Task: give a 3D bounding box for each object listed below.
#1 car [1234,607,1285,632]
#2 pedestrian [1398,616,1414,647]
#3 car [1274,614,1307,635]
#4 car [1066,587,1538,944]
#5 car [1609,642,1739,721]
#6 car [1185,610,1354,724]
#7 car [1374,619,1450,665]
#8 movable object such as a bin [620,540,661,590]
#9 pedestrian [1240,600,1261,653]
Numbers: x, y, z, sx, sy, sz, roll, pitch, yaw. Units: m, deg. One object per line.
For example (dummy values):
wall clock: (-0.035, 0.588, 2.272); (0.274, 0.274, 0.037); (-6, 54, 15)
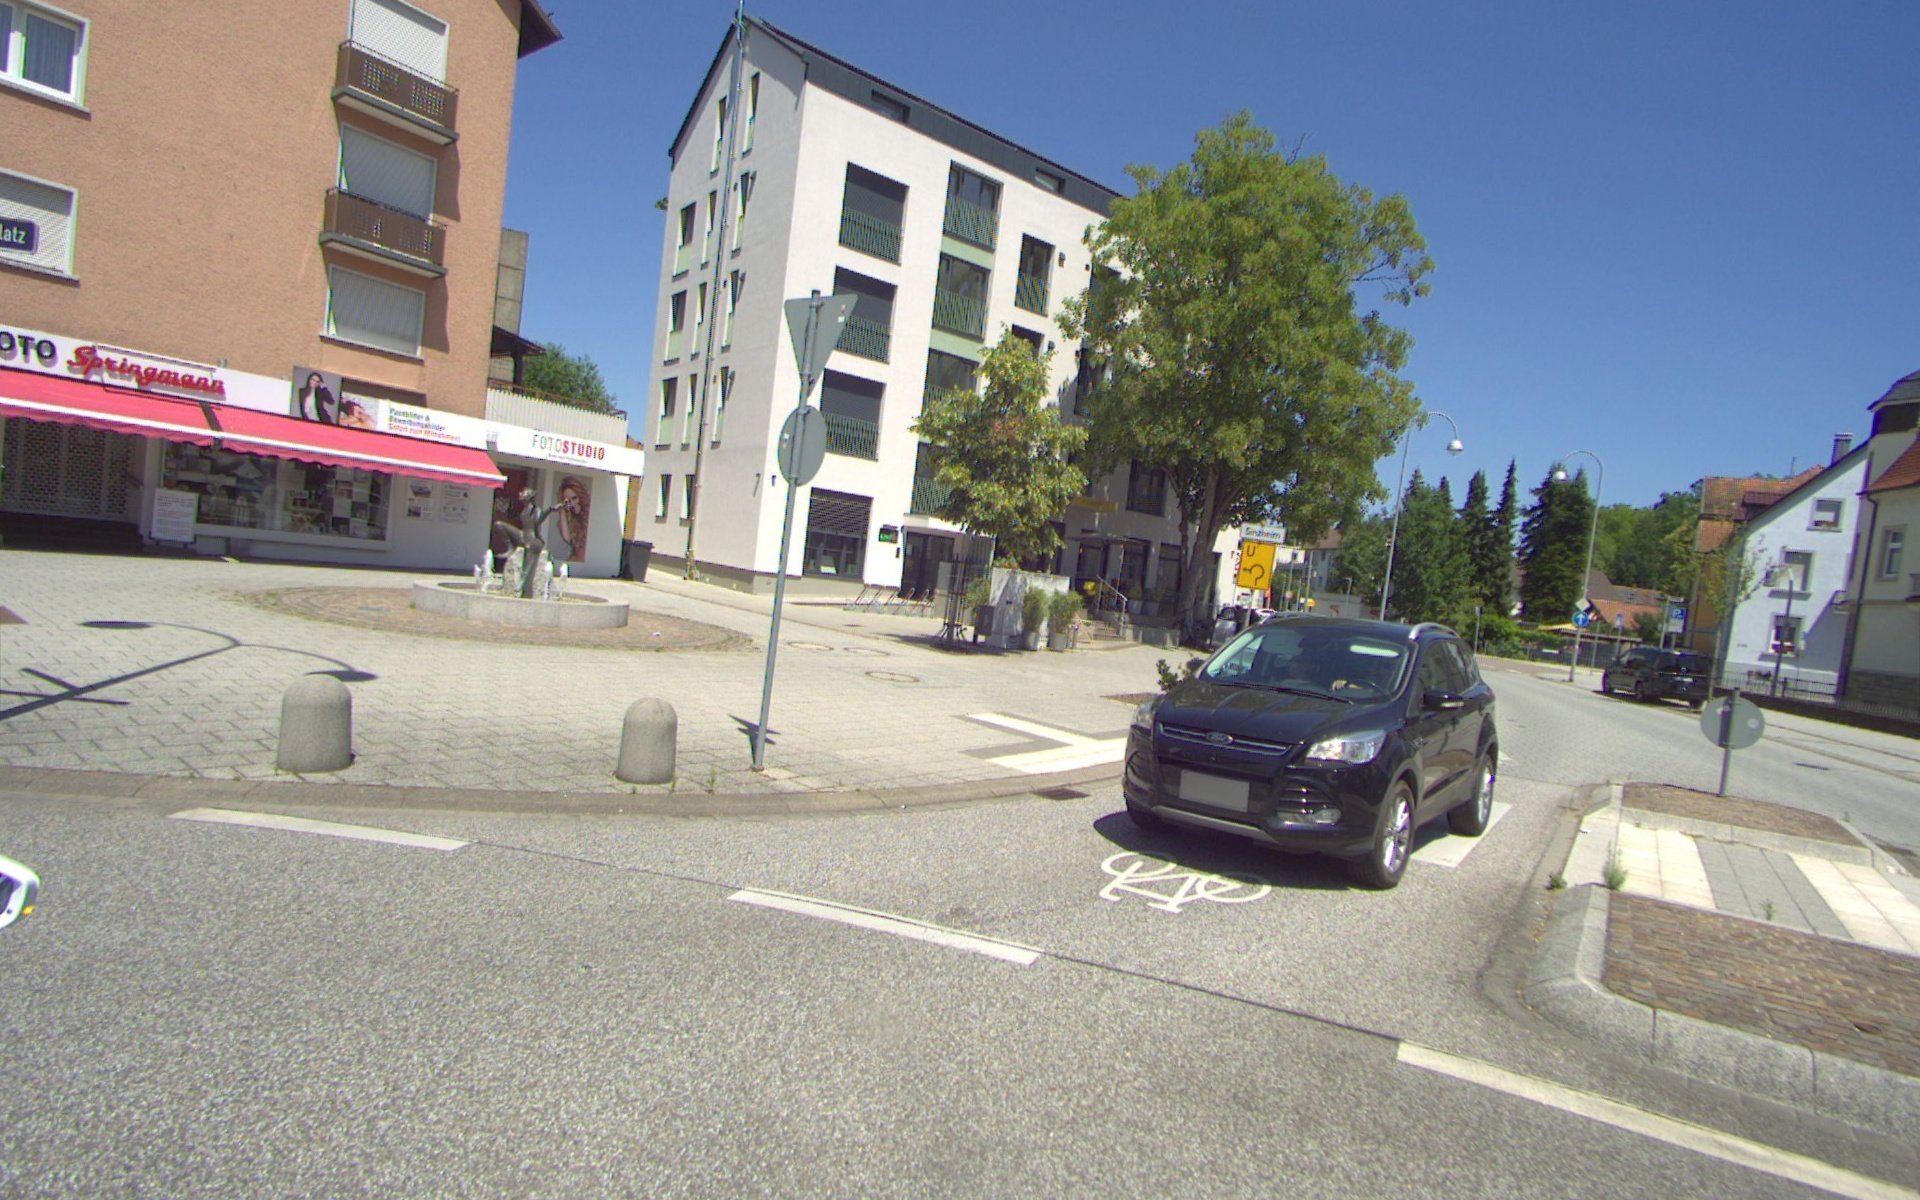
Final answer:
car: (27.783, 1.801, 93.487); (3.940, 1.674, 1.989); (6, 5, -18)
pedestrian: (28.646, 2.016, 64.622); (0.539, 1.840, 0.844); (9, 5, 14)
car: (26.203, 1.930, 79.783); (1.516, 1.396, 3.998); (7, 1, 6)
car: (2.880, 0.982, 7.653); (1.969, 1.710, 4.508); (7, 1, 37)
car: (23.874, 2.648, 33.874); (1.962, 1.891, 4.281); (9, 4, 15)
car: (5.821, 1.181, 18.610); (1.772, 1.611, 3.987); (10, 4, 32)
car: (20.142, 1.825, 45.037); (1.802, 1.595, 3.997); (6, 2, 6)
movable object such as a bin: (-8.379, -0.910, 26.402); (0.753, 1.171, 0.766); (4, 6, -35)
pedestrian: (9.426, 0.840, 32.640); (0.398, 1.652, 0.650); (9, 5, 14)
